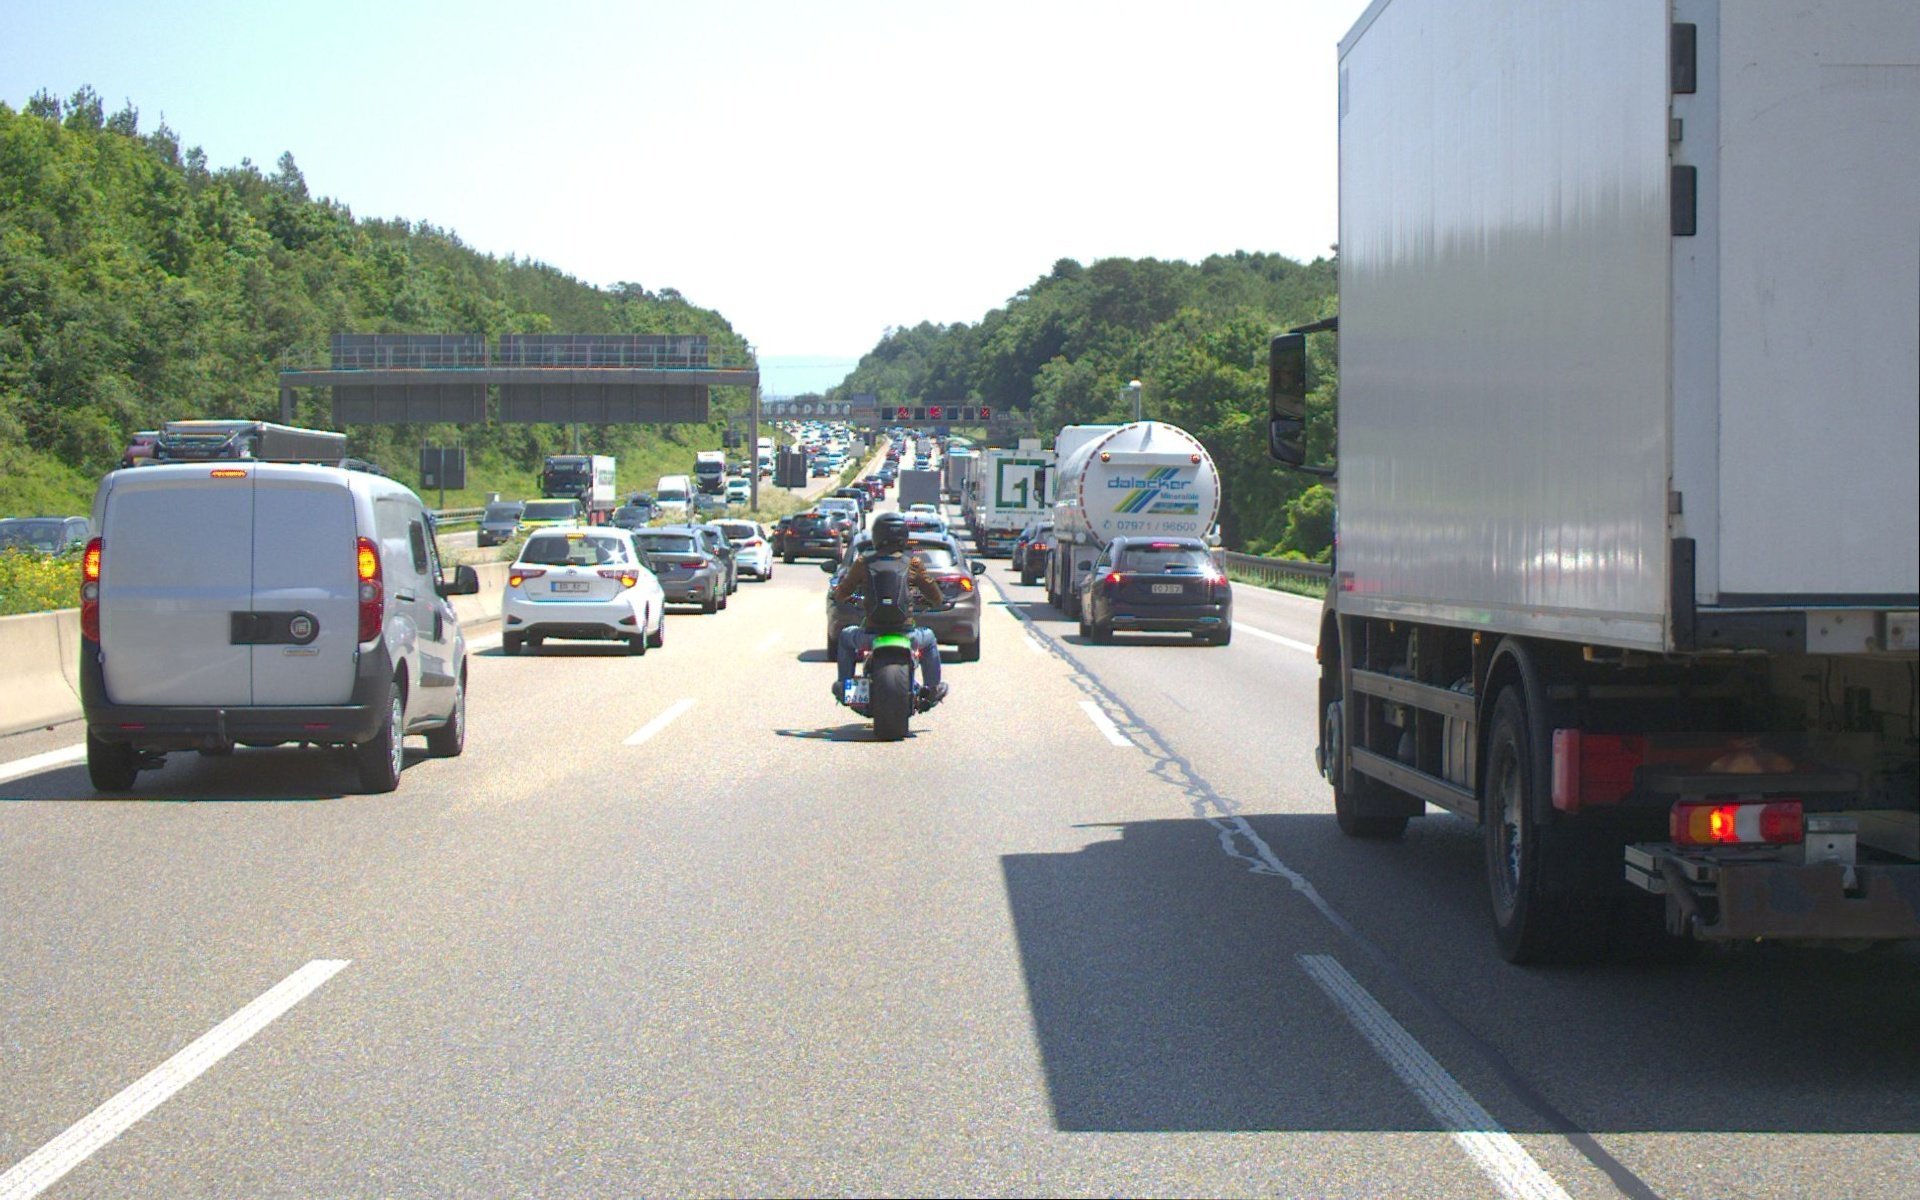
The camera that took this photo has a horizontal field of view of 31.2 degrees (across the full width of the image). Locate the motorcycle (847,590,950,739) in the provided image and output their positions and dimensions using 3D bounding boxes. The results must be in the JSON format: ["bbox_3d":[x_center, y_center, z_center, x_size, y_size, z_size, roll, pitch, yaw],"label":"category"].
[{"bbox_3d":[-0.445,0.456,25.572,0.691,1.012,2.121,1,1,1],"label":"motorcycle"}]

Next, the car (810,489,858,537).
[{"bbox_3d":[-5.552,-3.828,151.832,1.929,2.007,4.000,-2,1,0],"label":"car"}]

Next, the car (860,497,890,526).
[{"bbox_3d":[-5.955,-6.183,241.288,1.993,2.007,4.000,1,1,0],"label":"car"}]

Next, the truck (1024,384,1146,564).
[{"bbox_3d":[2.522,-2.527,70.664,1.993,3.510,4.752,-2,1,-3],"label":"truck"}]

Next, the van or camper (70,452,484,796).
[{"bbox_3d":[-4.059,0.108,21.062,1.796,1.886,4.160,0,1,-1],"label":"van or camper"}]

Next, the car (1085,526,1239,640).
[{"bbox_3d":[2.736,-0.268,47.321,1.828,1.465,4.000,1,1,0],"label":"car"}]

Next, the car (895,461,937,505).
[{"bbox_3d":[-2.601,-6.970,204.616,2.504,2.578,5.017,0,2,0],"label":"car"}]

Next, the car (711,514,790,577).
[{"bbox_3d":[-5.028,-1.338,82.945,1.699,1.473,4.000,0,2,0],"label":"car"}]

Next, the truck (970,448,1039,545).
[{"bbox_3d":[2.125,-5.052,168.087,3.033,4.526,9.983,1,2,-1],"label":"truck"}]

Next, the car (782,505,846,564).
[{"bbox_3d":[-4.660,-2.118,110.027,1.880,1.853,4.000,1,1,0],"label":"car"}]

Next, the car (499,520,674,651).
[{"bbox_3d":[-4.442,-0.212,41.390,1.699,1.473,4.000,0,2,0],"label":"car"}]

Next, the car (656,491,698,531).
[{"bbox_3d":[-16.973,-5.362,206.378,1.993,2.369,7.365,0,2,0],"label":"car"}]

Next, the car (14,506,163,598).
[{"bbox_3d":[-14.971,-0.854,59.251,1.563,1.514,4.000,-1,1,-1],"label":"car"}]

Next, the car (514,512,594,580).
[{"bbox_3d":[-12.617,-1.674,107.125,1.880,2.007,4.468,-3,1,0],"label":"car"}]

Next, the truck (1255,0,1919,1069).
[{"bbox_3d":[3.107,-0.842,13.998,2.688,3.863,9.781,-3,1,-1],"label":"truck"}]

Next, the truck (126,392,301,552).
[{"bbox_3d":[-19.785,-3.316,91.551,2.906,3.960,7.769,-2,1,-1],"label":"truck"}]

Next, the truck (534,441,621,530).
[{"bbox_3d":[-20.477,-6.116,184.663,3.724,4.512,7.326,-2,1,0],"label":"truck"}]

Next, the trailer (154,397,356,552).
[{"bbox_3d":[-19.859,-3.407,97.841,2.906,3.960,13.889,-2,1,-1],"label":"trailer"}]

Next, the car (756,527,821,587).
[{"bbox_3d":[-6.033,-1.512,121.261,1.993,2.007,4.000,-2,1,0],"label":"car"}]

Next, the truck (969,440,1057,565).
[{"bbox_3d":[1.964,-3.704,131.236,3.033,4.526,9.983,1,2,-1],"label":"truck"}]

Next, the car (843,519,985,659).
[{"bbox_3d":[-0.554,-0.165,40.265,1.532,1.504,4.000,-2,1,-1],"label":"car"}]

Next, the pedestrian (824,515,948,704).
[{"bbox_3d":[-0.545,0.057,25.684,0.849,1.357,0.961,-2,1,1],"label":"pedestrian"}]

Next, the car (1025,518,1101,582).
[{"bbox_3d":[2.579,-1.277,86.884,1.787,1.550,3.804,0,2,0],"label":"car"}]

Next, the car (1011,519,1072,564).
[{"bbox_3d":[2.544,-1.849,108.321,1.787,1.370,3.804,0,2,0],"label":"car"}]

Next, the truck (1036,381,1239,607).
[{"bbox_3d":[3.060,-1.823,61.915,2.988,3.659,9.288,-2,1,0],"label":"truck"}]

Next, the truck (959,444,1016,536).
[{"bbox_3d":[1.535,-6.310,197.845,3.033,5.121,9.983,1,2,-1],"label":"truck"}]

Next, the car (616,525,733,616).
[{"bbox_3d":[-4.814,-0.532,58.373,1.699,1.473,4.000,0,2,0],"label":"car"}]
